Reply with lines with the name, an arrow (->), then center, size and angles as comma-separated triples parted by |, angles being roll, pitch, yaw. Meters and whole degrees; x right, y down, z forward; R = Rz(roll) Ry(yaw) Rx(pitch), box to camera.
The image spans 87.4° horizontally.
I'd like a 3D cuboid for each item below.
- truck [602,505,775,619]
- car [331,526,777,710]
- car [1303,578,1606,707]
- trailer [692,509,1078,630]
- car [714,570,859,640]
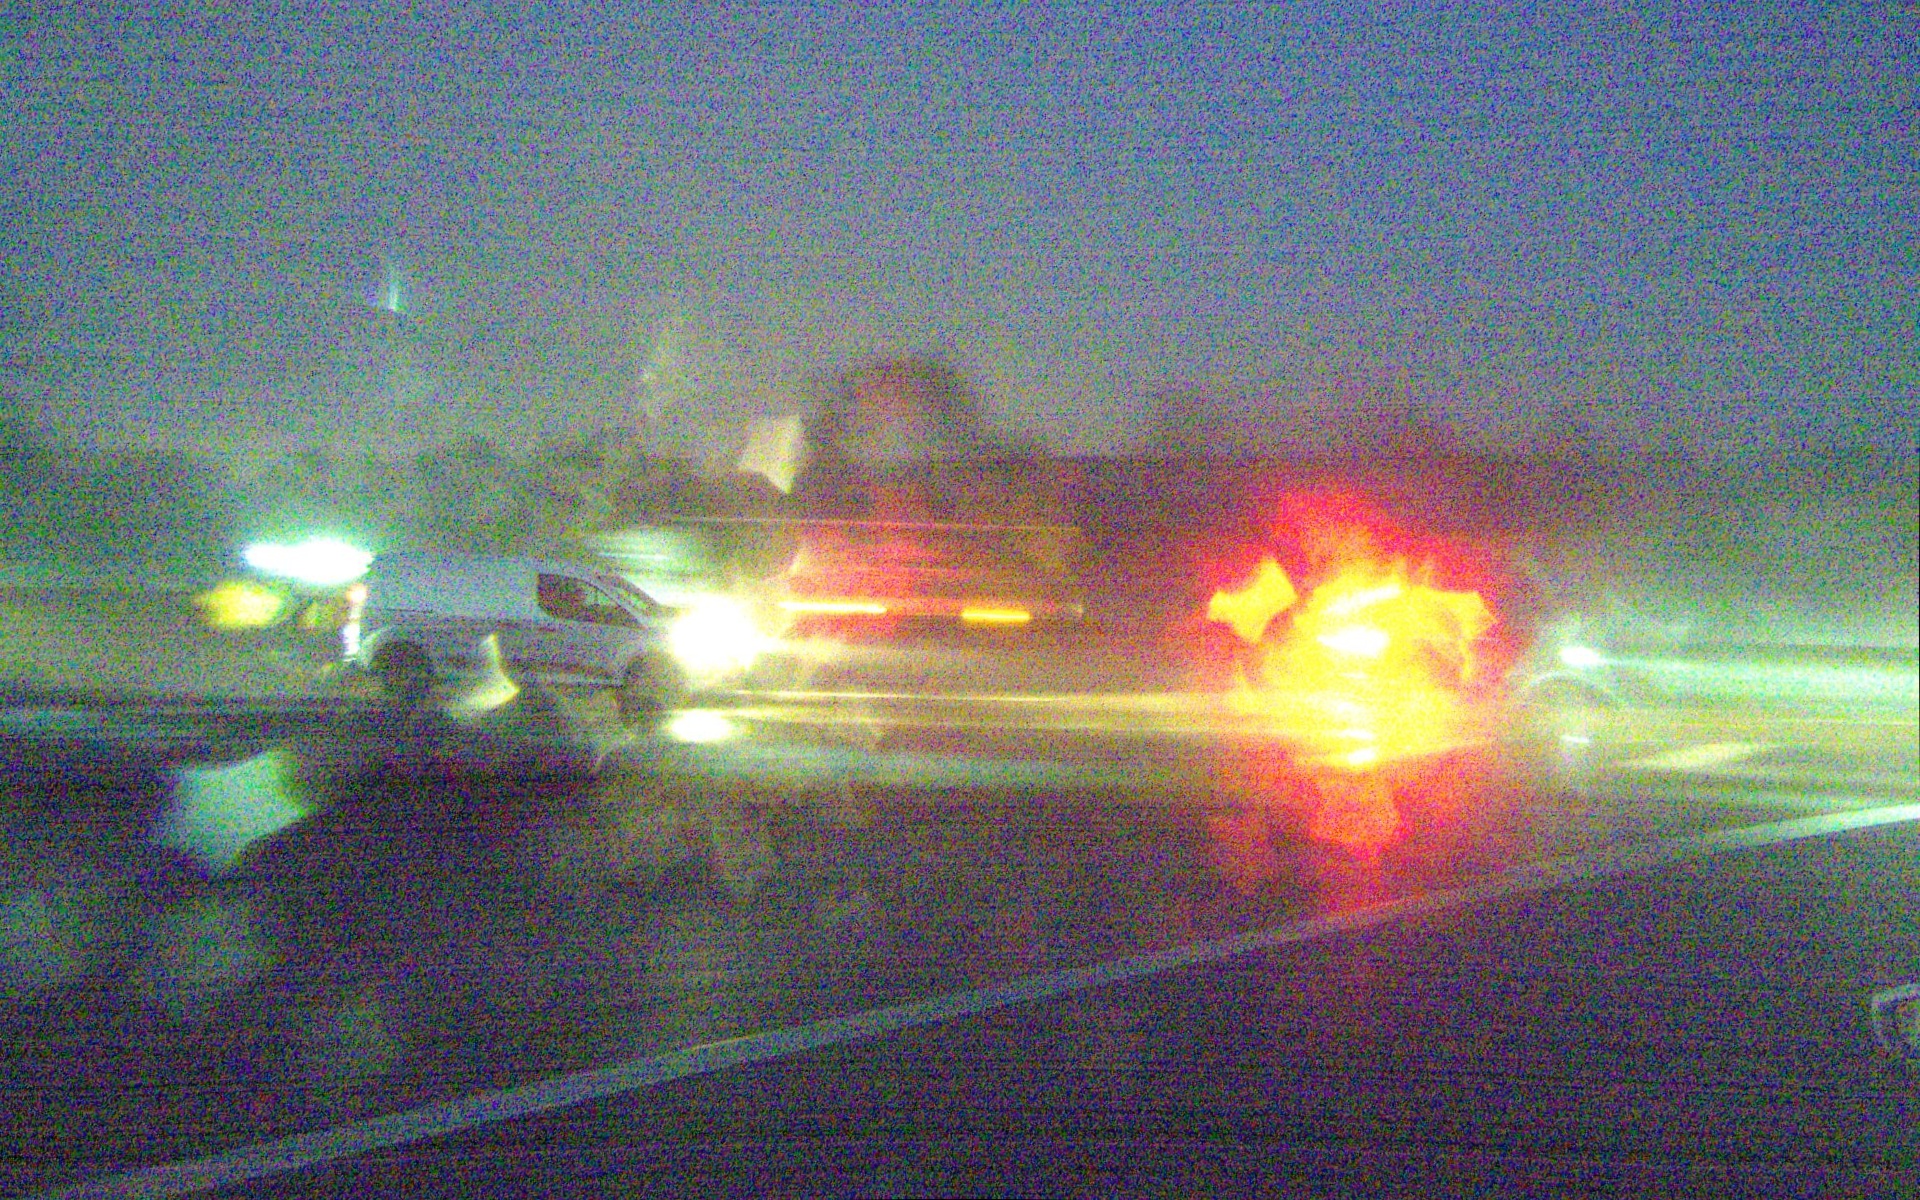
truck -> -9.817, -1.380, 36.748 | 5.595, 3.781, 2.659 | 2, 2, -4
car -> -5.021, 0.256, 13.083 | 4.921, 2.040, 1.999 | 2, -1, -4
car -> 8.885, 0.722, 18.331 | 4.480, 2.041, 1.998 | 2, 2, -4
trailer -> -2.679, -1.105, 37.287 | 13.677, 3.781, 2.659 | 2, 2, -4
car -> -4.980, 0.122, 29.260 | 3.923, 1.796, 1.998 | 2, 2, -4
